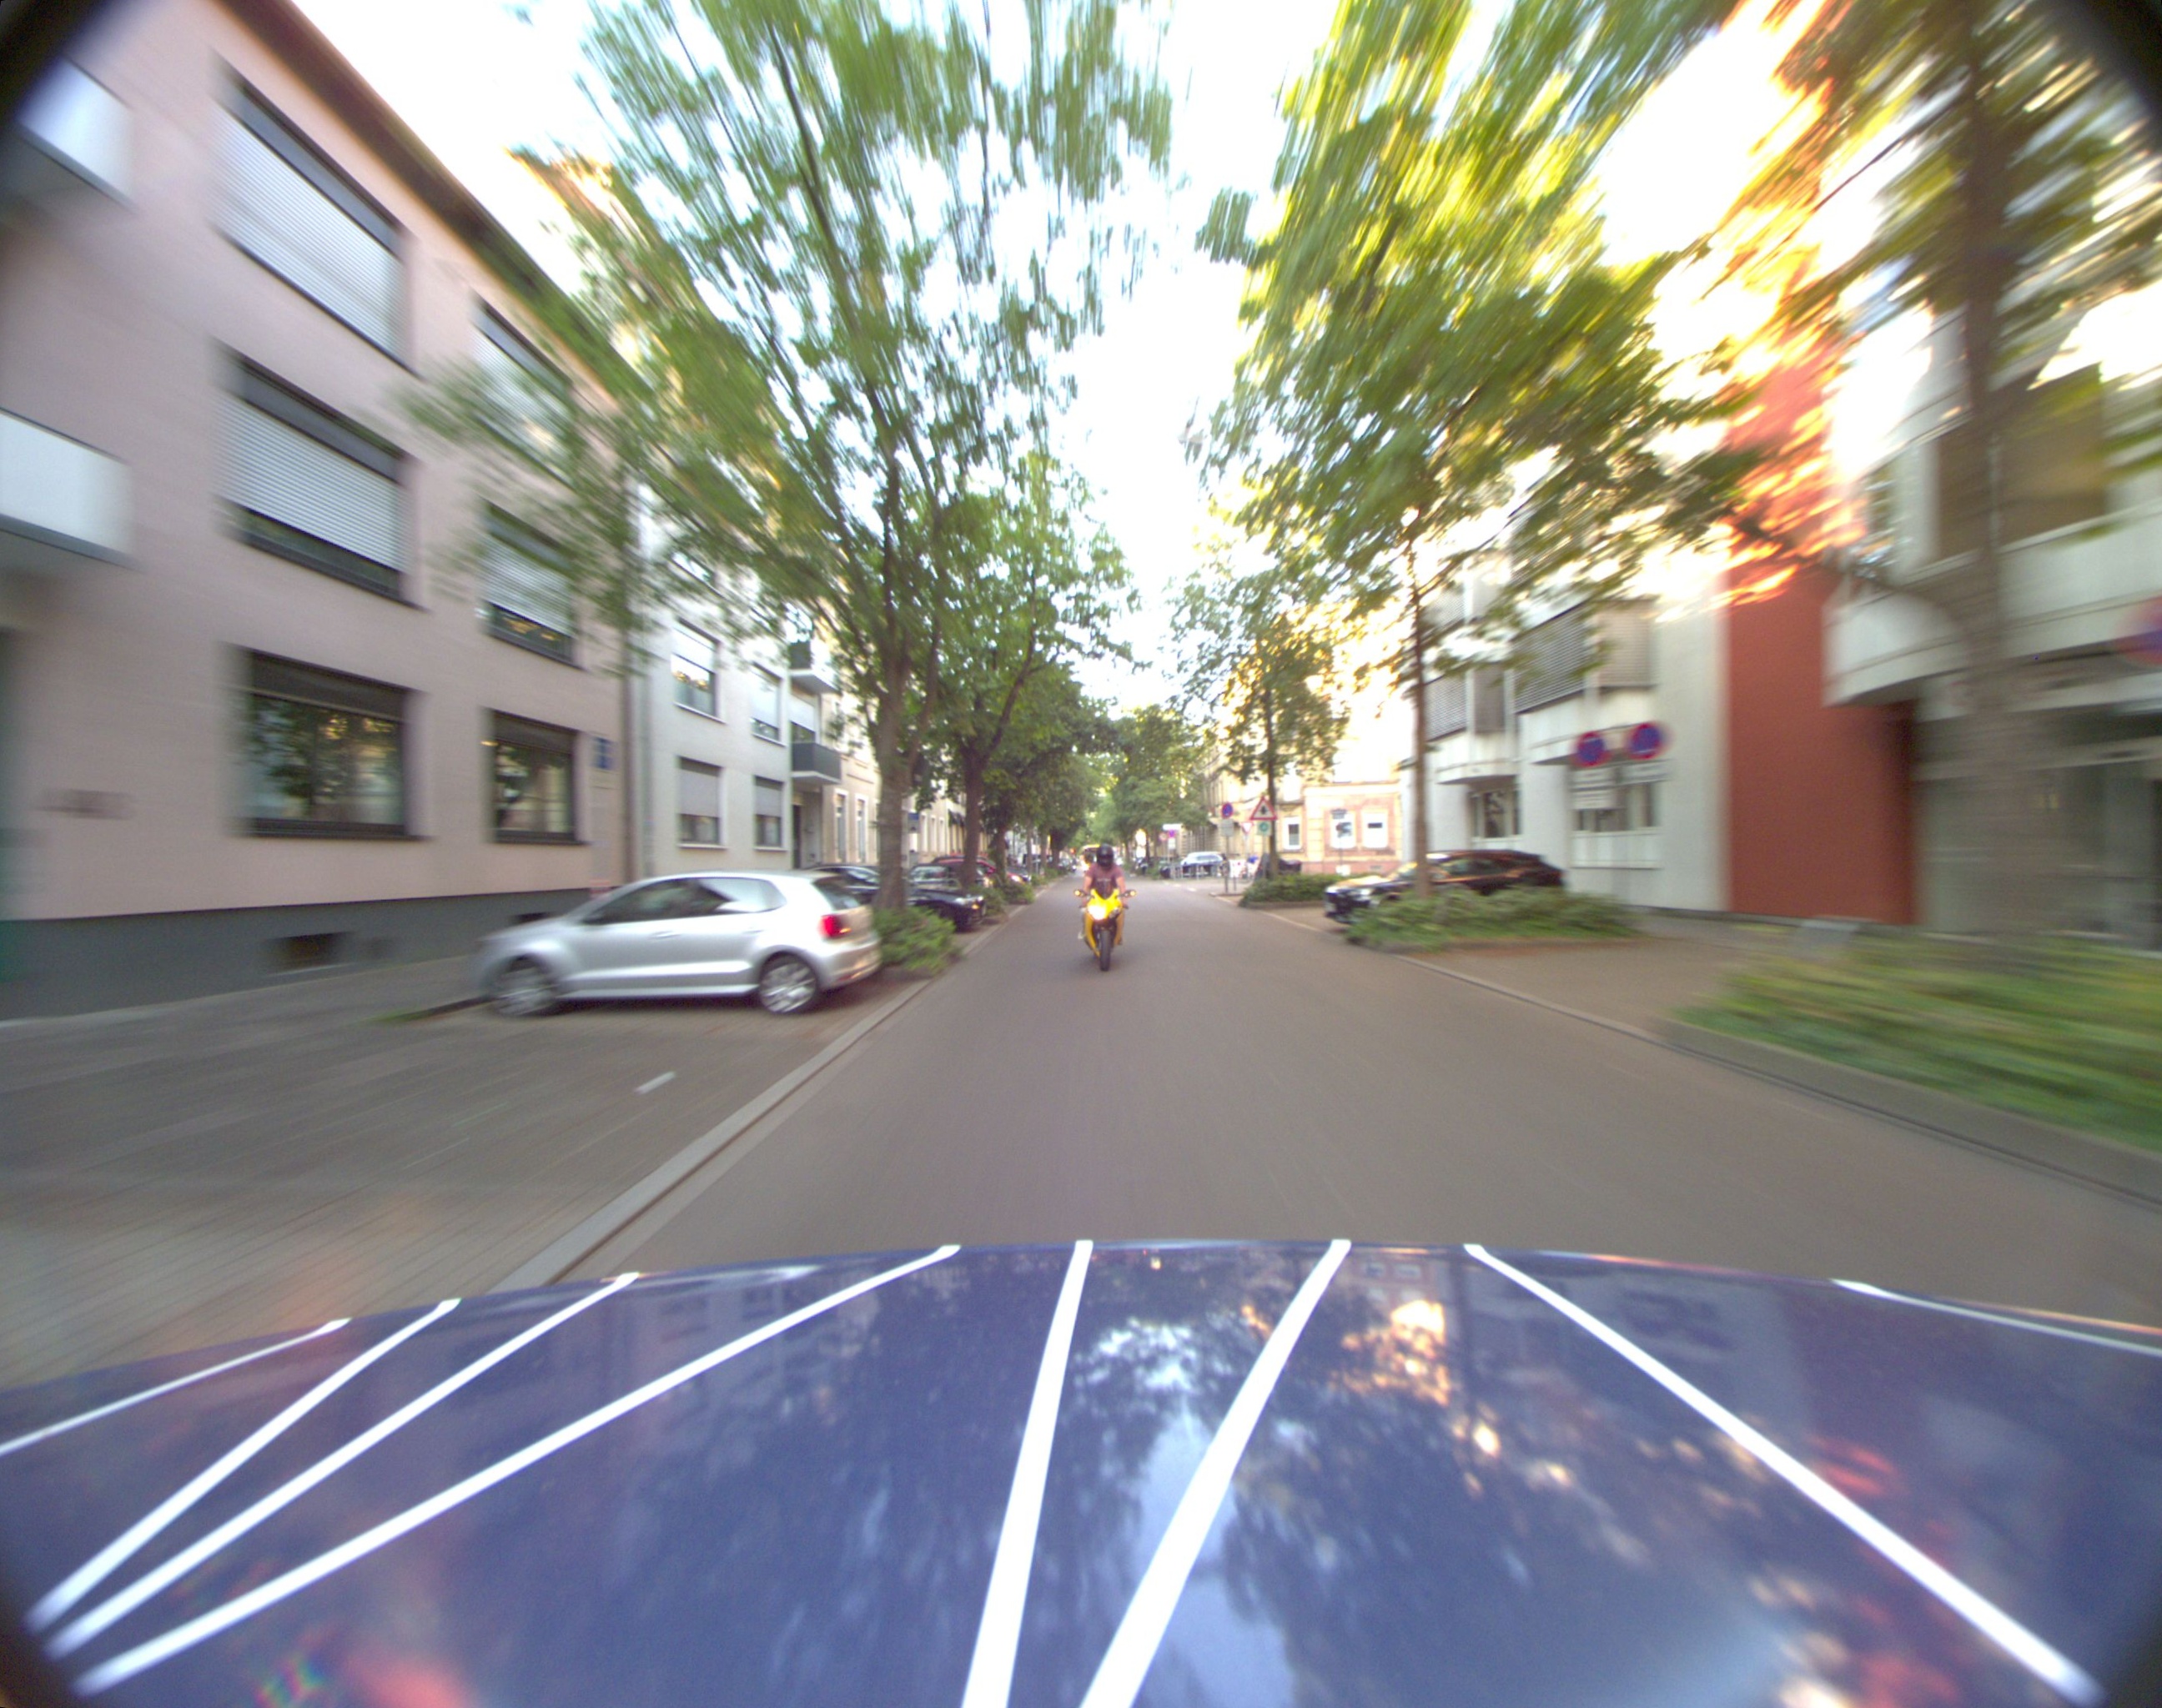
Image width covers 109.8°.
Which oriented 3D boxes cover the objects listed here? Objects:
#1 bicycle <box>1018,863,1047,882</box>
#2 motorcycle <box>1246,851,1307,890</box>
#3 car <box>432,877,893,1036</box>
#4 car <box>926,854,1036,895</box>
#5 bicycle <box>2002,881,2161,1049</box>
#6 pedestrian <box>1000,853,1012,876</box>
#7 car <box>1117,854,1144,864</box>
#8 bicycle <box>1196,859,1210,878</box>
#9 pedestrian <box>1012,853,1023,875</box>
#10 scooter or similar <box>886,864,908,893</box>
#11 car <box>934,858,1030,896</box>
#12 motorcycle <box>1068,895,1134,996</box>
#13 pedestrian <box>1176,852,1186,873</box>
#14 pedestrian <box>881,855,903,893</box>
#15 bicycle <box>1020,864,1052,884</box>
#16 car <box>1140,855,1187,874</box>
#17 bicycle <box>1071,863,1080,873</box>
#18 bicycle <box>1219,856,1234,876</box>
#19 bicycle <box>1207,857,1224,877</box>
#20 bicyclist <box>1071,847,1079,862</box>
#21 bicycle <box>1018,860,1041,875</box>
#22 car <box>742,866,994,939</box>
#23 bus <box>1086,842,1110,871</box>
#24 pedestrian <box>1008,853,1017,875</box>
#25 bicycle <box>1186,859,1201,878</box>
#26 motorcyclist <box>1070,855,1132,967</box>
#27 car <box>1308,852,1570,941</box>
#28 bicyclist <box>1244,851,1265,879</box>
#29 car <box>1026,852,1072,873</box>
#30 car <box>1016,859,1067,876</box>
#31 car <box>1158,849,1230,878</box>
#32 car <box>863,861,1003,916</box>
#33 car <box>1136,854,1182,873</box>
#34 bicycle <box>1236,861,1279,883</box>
[{"bbox_3d":[-3.051,1.149,47.924,1.834,1.171,0.673,0,0,0],"label":"bicycle"},{"bbox_3d":[7.861,0.671,30.522,2.217,1.473,0.858,-2,-1,-18],"label":"motorcycle"},{"bbox_3d":[-4.156,0.989,8.106,3.887,1.431,1.847,0,0,-3],"label":"car"},{"bbox_3d":[-4.243,0.871,32.678,4.436,1.646,1.900,-1,0,2],"label":"car"},{"bbox_3d":[8.048,0.811,5.981,1.802,1.101,0.499,-2,0,-23],"label":"bicycle"},{"bbox_3d":[-5.584,0.771,56.603,0.779,1.728,0.683,1,-1,-15],"label":"pedestrian"},{"bbox_3d":[7.773,0.774,119.169,4.180,1.548,1.827,-2,0,3],"label":"car"},{"bbox_3d":[7.509,0.872,46.695,0.523,1.013,1.861,-4,1,1],"label":"bicycle"},{"bbox_3d":[-5.146,0.789,61.246,0.709,1.728,0.725,1,-1,-20],"label":"pedestrian"},{"bbox_3d":[-7.507,0.982,31.080,0.656,1.146,0.831,0,0,1],"label":"scooter or similar"},{"bbox_3d":[-3.788,0.869,29.515,3.492,1.444,1.899,0,0,-1],"label":"car"},{"bbox_3d":[0.266,1.114,9.768,0.737,1.053,1.964,-2,0,2],"label":"motorcycle"},{"bbox_3d":[8.567,0.739,65.032,0.736,1.728,0.671,-2,0,7],"label":"pedestrian"},{"bbox_3d":[-7.527,0.788,30.270,0.656,1.527,0.831,0,0,1],"label":"pedestrian"},{"bbox_3d":[-2.627,1.146,44.386,1.843,1.129,0.744,0,0,-9],"label":"bicycle"},{"bbox_3d":[7.282,0.898,67.063,3.954,1.523,1.908,-2,0,3],"label":"car"},{"bbox_3d":[-0.573,1.480,81.355,0.638,0.977,1.980,-3,-1,-10],"label":"bicycle"},{"bbox_3d":[8.926,0.717,46.742,0.518,1.101,1.861,-4,2,1],"label":"bicycle"},{"bbox_3d":[8.253,0.790,46.659,0.670,1.056,1.861,-4,2,1],"label":"bicycle"},{"bbox_3d":[-0.626,0.077,81.246,0.638,1.551,0.818,-3,-1,-10],"label":"bicyclist"},{"bbox_3d":[-4.234,1.101,62.672,1.800,1.225,0.673,2,0,-9],"label":"bicycle"},{"bbox_3d":[-4.319,0.979,15.985,4.723,1.413,2.036,0,0,1],"label":"car"},{"bbox_3d":[1.967,0.284,92.469,2.668,3.175,11.899,-3,0,0],"label":"bus"},{"bbox_3d":[-5.321,0.768,59.321,0.616,1.728,0.623,1,-1,1],"label":"pedestrian"},{"bbox_3d":[6.894,0.898,46.671,0.523,1.053,1.861,-4,2,-2],"label":"bicycle"},{"bbox_3d":[0.267,0.725,9.970,0.737,1.404,0.726,-2,0,2],"label":"motorcyclist"},{"bbox_3d":[6.773,0.773,14.719,4.138,1.477,1.929,-2,0,0],"label":"car"},{"bbox_3d":[8.769,0.547,38.355,0.774,1.355,0.675,-3,0,36],"label":"bicyclist"},{"bbox_3d":[-3.366,0.923,80.672,4.701,1.999,2.037,2,0,0],"label":"car"},{"bbox_3d":[-3.500,1.191,68.139,4.412,1.385,1.885,2,0,-1],"label":"car"},{"bbox_3d":[7.346,0.640,49.798,4.436,1.641,1.873,-3,-1,2],"label":"car"},{"bbox_3d":[-3.995,0.919,20.978,3.492,1.444,1.899,0,0,-1],"label":"car"},{"bbox_3d":[7.584,0.917,73.733,4.211,1.662,1.908,-3,-1,1],"label":"car"},{"bbox_3d":[8.875,0.930,38.292,1.972,1.024,0.675,-3,0,39],"label":"bicycle"}]
